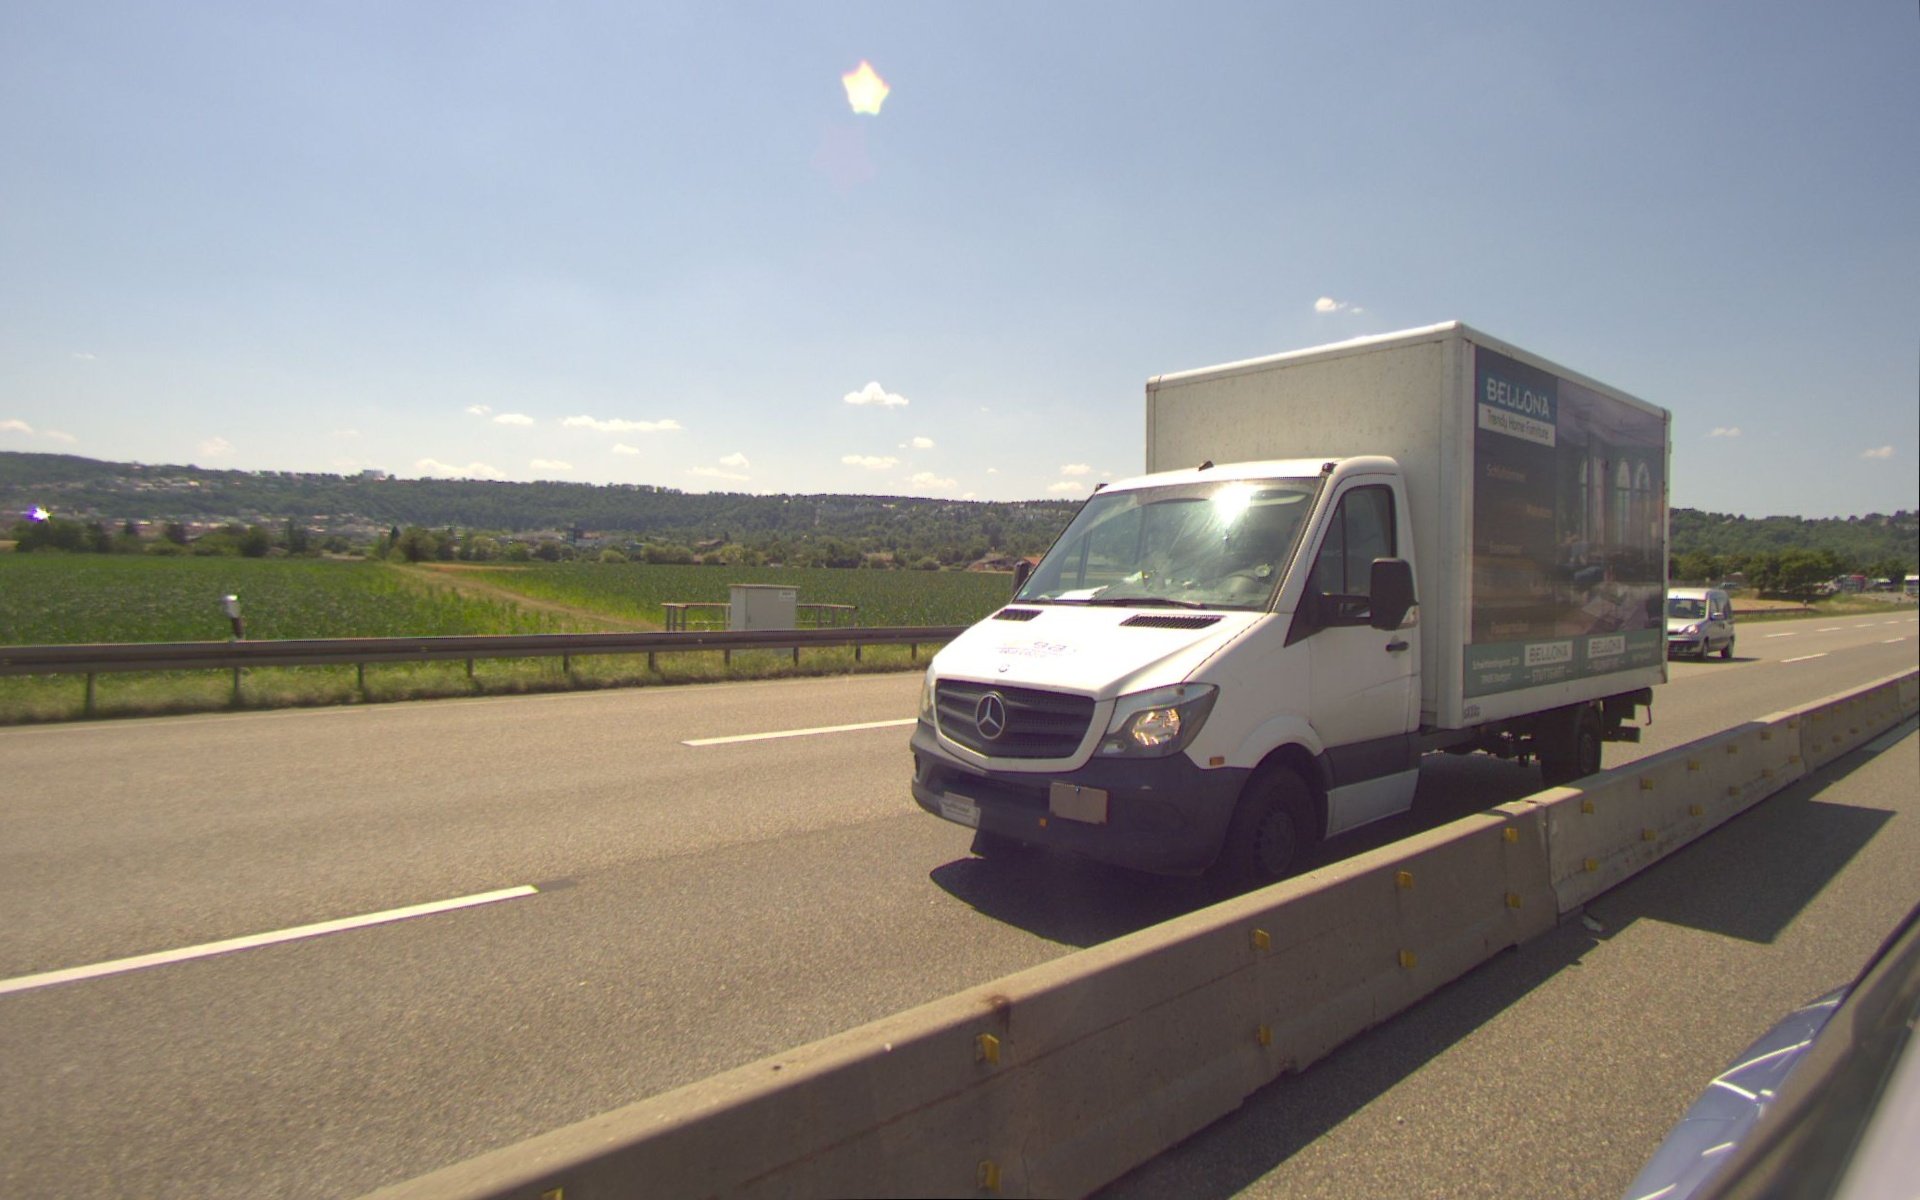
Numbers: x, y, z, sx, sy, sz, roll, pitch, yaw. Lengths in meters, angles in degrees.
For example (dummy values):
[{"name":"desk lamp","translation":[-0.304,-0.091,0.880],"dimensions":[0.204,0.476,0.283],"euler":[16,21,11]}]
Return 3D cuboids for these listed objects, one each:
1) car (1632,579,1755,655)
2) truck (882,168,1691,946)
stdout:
[{"name":"car","translation":[18.331,0.393,25.231],"dimensions":[3.902,1.759,1.630],"euler":[1,0,-40]},{"name":"truck","translation":[2.816,-0.169,7.111],"dimensions":[6.632,3.106,2.325],"euler":[1,0,-41]}]
